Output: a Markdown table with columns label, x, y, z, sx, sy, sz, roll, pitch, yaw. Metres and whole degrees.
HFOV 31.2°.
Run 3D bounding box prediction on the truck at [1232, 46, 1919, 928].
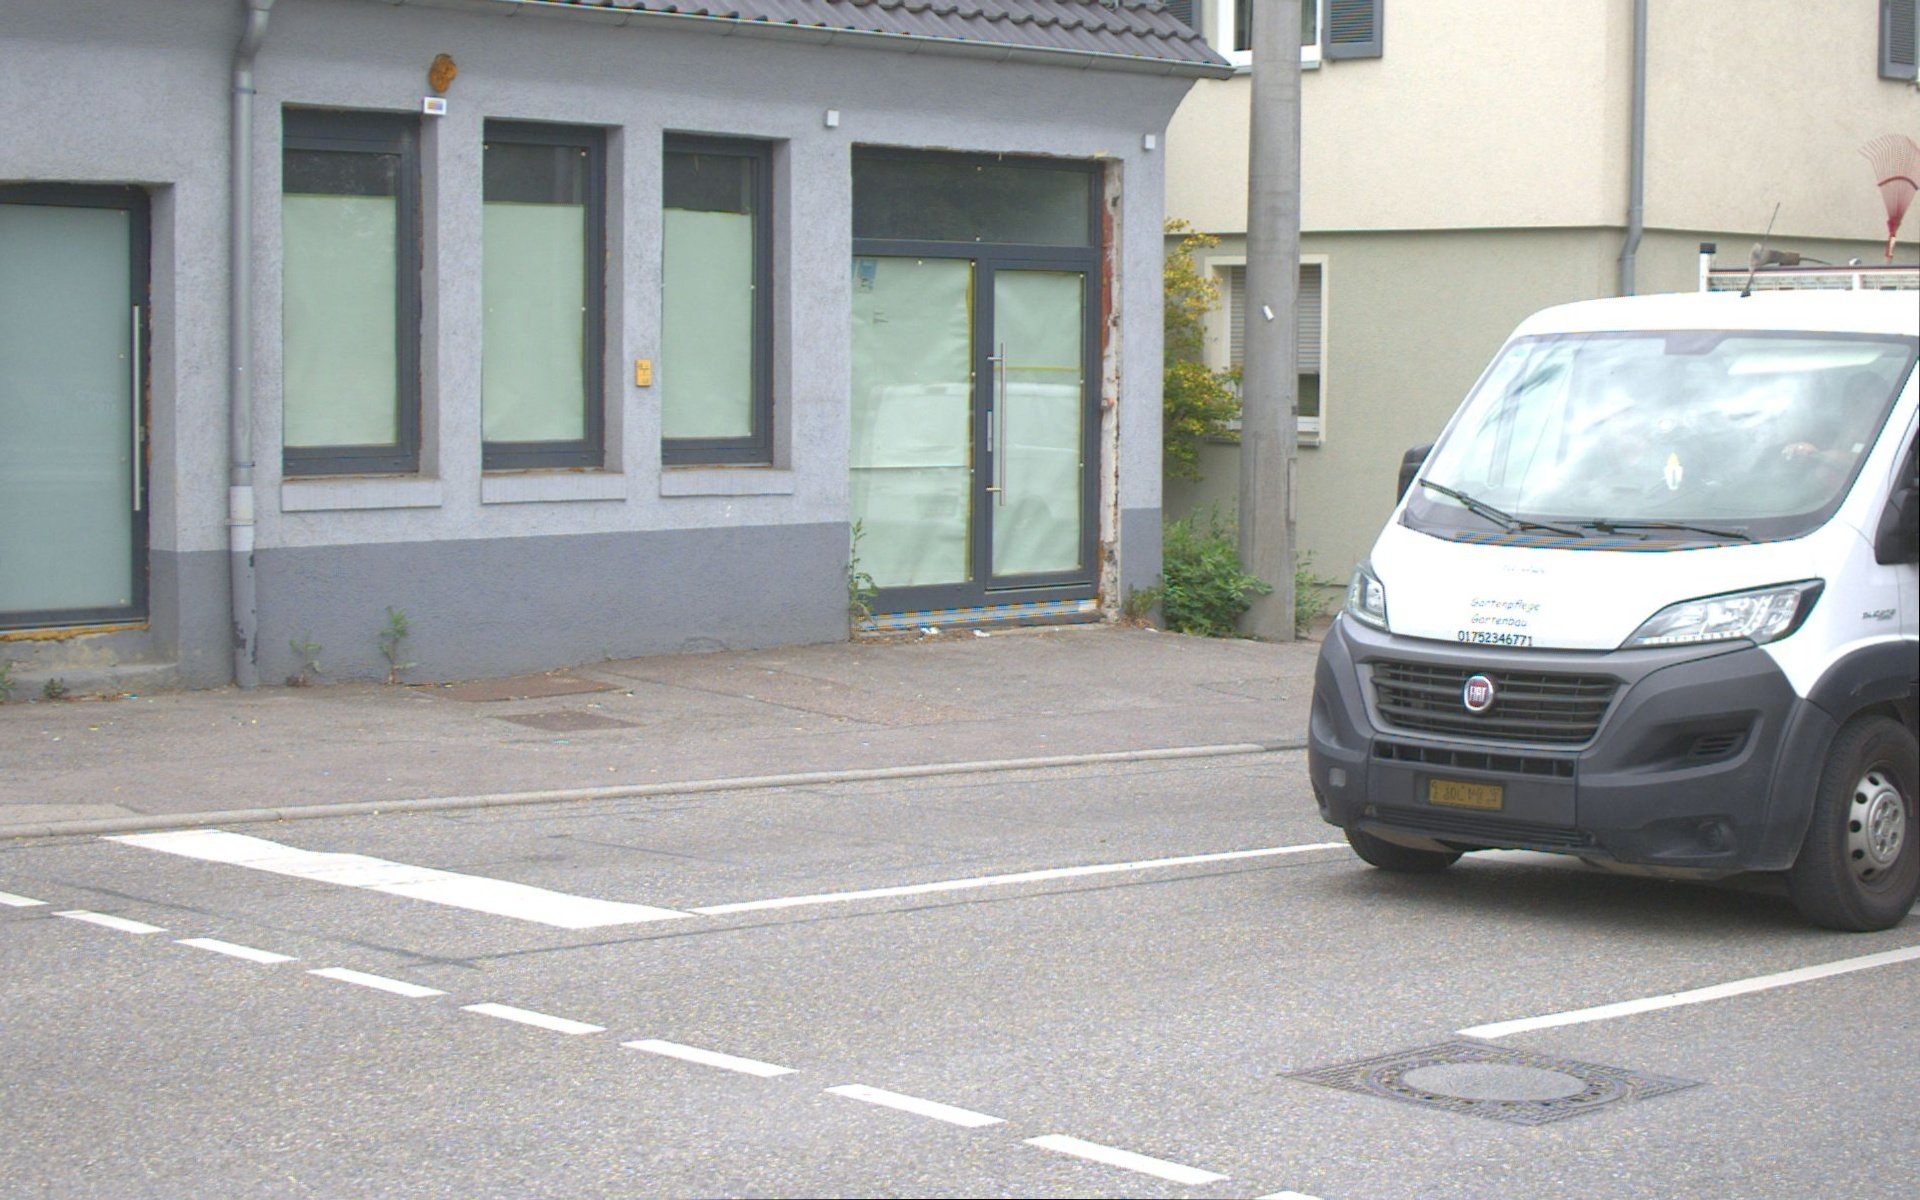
| label | x | y | z | sx | sy | sz | roll | pitch | yaw |
| --- | --- | --- | --- | --- | --- | --- | --- | --- | --- |
| truck | 3.911 | -0.414 | 13.474 | 1.999 | 2.691 | 6.391 | 2 | 2 | 45 |
